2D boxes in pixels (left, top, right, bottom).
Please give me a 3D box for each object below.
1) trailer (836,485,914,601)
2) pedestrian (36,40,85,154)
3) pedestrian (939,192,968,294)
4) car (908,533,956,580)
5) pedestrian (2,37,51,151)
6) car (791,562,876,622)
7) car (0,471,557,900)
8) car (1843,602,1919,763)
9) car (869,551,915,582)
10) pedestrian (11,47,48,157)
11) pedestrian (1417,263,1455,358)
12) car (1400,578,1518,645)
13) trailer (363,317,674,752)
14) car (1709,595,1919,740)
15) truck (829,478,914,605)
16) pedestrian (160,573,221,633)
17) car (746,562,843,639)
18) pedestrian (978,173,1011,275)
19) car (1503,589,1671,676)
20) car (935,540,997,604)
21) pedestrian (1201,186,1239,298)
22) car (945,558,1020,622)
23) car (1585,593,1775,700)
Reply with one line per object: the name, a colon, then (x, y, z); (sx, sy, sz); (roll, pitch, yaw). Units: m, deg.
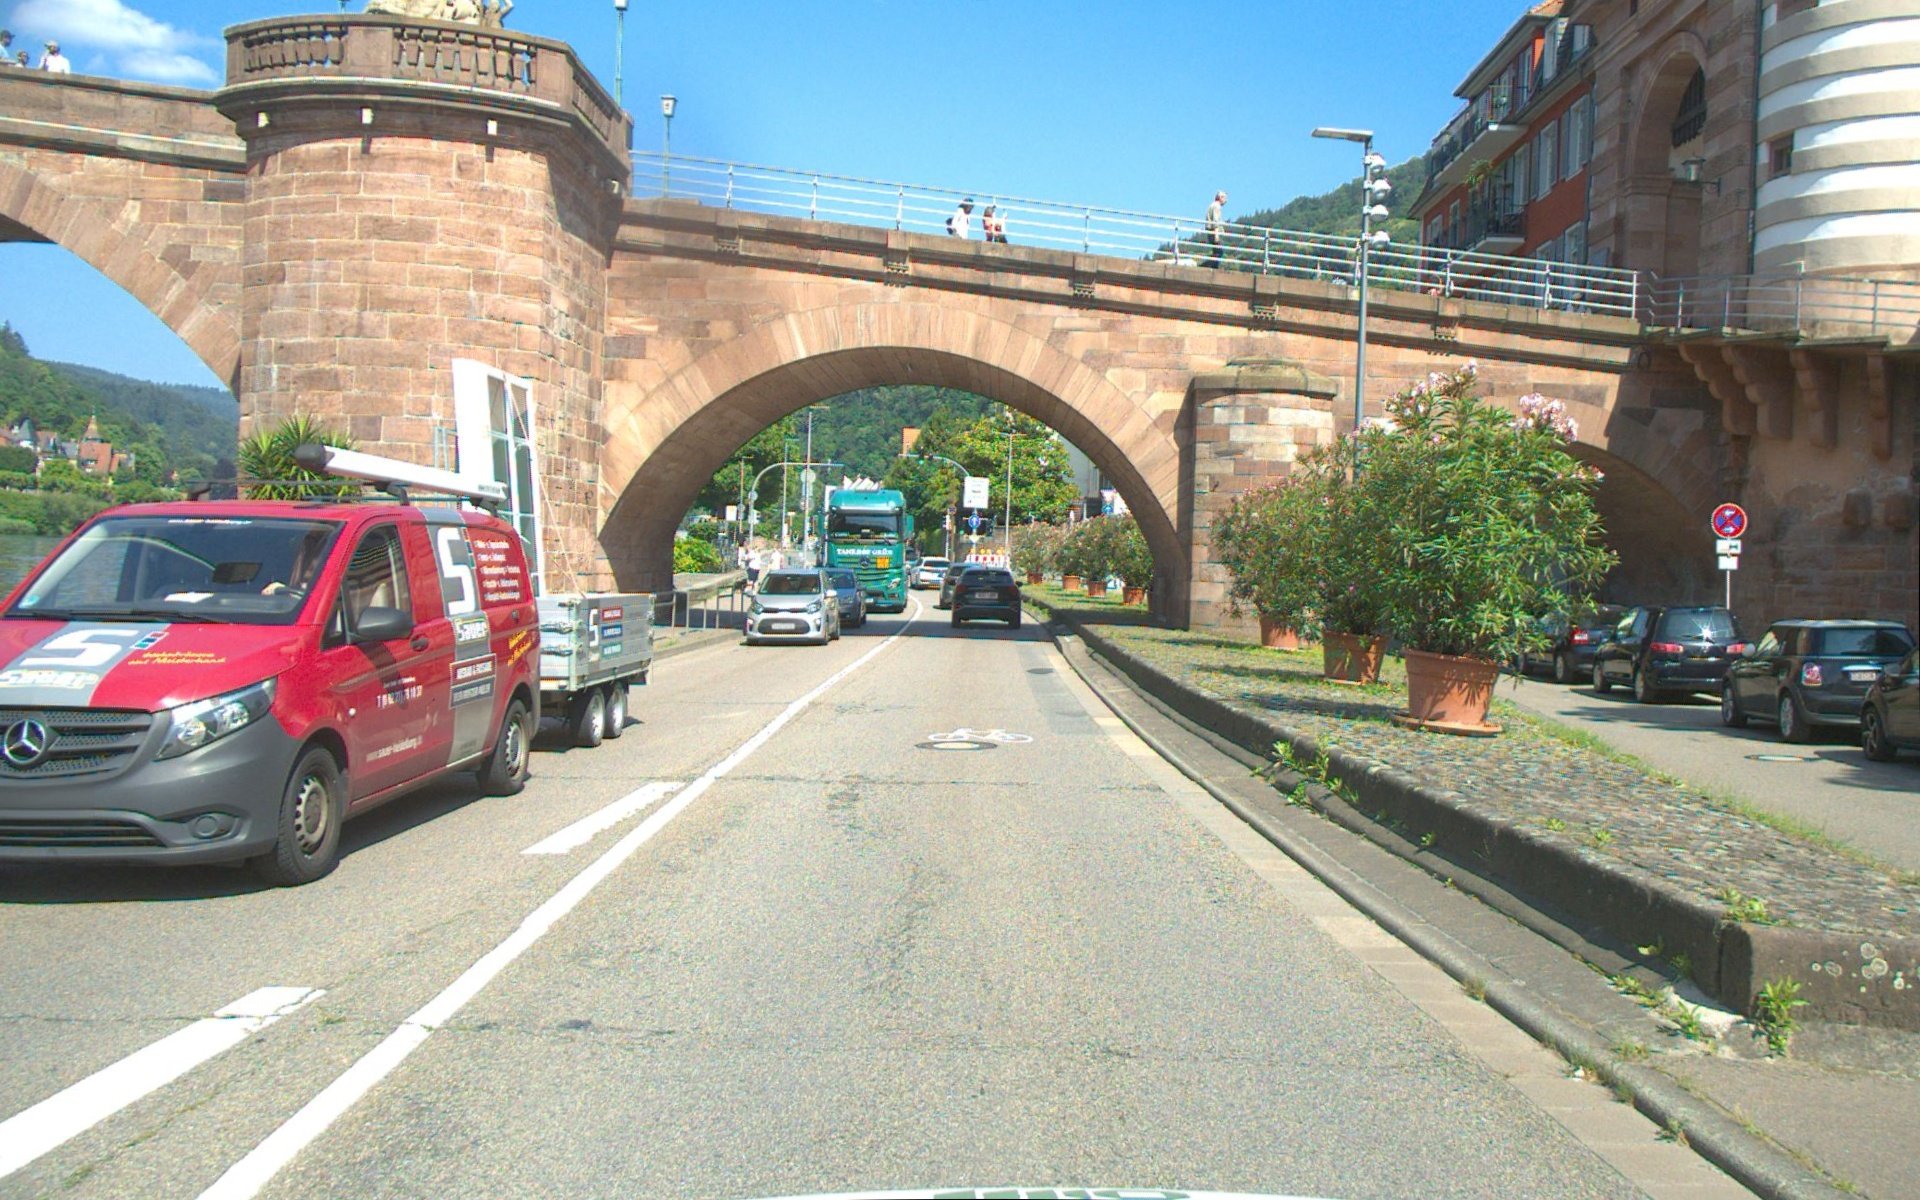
trailer: (-2.897, -2.038, 59.082); (2.473, 3.707, 11.530); (0, 2, -2)
pedestrian: (-18.060, -10.093, 33.217); (0.611, 2.049, 0.694); (1, 0, -6)
pedestrian: (-0.142, -7.578, 35.137); (0.569, 2.049, 0.586); (1, 0, 1)
car: (-1.302, -1.962, 75.734); (1.954, 2.049, 3.997); (1, 1, -4)
pedestrian: (-18.653, -10.101, 33.053); (0.611, 2.049, 0.694); (1, 0, -6)
car: (-3.171, -0.230, 42.223); (1.687, 1.462, 4.402); (0, 1, 2)
car: (-3.840, 0.322, 9.447); (1.835, 1.859, 4.545); (0, 1, 2)
car: (9.907, 0.824, 15.697); (1.463, 1.510, 3.719); (2, 1, 8)
car: (-3.853, -1.871, 93.240); (1.958, 1.691, 3.989); (2, 1, -12)
pedestrian: (-19.007, -10.165, 33.790); (0.449, 2.049, 0.553); (1, 0, -6)
pedestrian: (10.768, -6.537, 37.397); (0.670, 2.049, 0.586); (1, 0, 1)
car: (12.516, 0.248, 41.727); (1.853, 1.518, 4.419); (1, 1, 3)
trailer: (-3.728, -0.530, 14.563); (1.705, 3.378, 3.385); (0, 1, 2)
car: (10.623, 0.750, 20.427); (1.557, 1.547, 3.907); (2, 1, 10)
truck: (-2.752, -1.892, 53.053); (2.472, 3.813, 6.246); (0, 2, -1)
pedestrian: (-16.640, 0.054, 35.789); (0.711, 1.262, 1.146); (1, 0, 5)
car: (-3.290, -0.028, 33.358); (1.503, 1.461, 3.729); (0, 1, 1)
pedestrian: (0.740, -8.068, 35.546); (0.670, 2.049, 0.586); (1, 0, 1)
car: (12.008, 0.570, 31.991); (1.738, 1.461, 4.495); (1, 1, 3)
car: (0.179, -0.929, 55.748); (1.953, 2.049, 3.999); (1, 1, -1)
pedestrian: (5.087, -7.002, 32.388); (0.610, 2.049, 0.695); (1, 0, 2)
car: (0.547, -0.275, 42.526); (1.819, 1.550, 4.000); (1, 1, 0)
car: (11.537, 0.681, 26.779); (1.738, 1.528, 3.990); (1, 1, 7)
